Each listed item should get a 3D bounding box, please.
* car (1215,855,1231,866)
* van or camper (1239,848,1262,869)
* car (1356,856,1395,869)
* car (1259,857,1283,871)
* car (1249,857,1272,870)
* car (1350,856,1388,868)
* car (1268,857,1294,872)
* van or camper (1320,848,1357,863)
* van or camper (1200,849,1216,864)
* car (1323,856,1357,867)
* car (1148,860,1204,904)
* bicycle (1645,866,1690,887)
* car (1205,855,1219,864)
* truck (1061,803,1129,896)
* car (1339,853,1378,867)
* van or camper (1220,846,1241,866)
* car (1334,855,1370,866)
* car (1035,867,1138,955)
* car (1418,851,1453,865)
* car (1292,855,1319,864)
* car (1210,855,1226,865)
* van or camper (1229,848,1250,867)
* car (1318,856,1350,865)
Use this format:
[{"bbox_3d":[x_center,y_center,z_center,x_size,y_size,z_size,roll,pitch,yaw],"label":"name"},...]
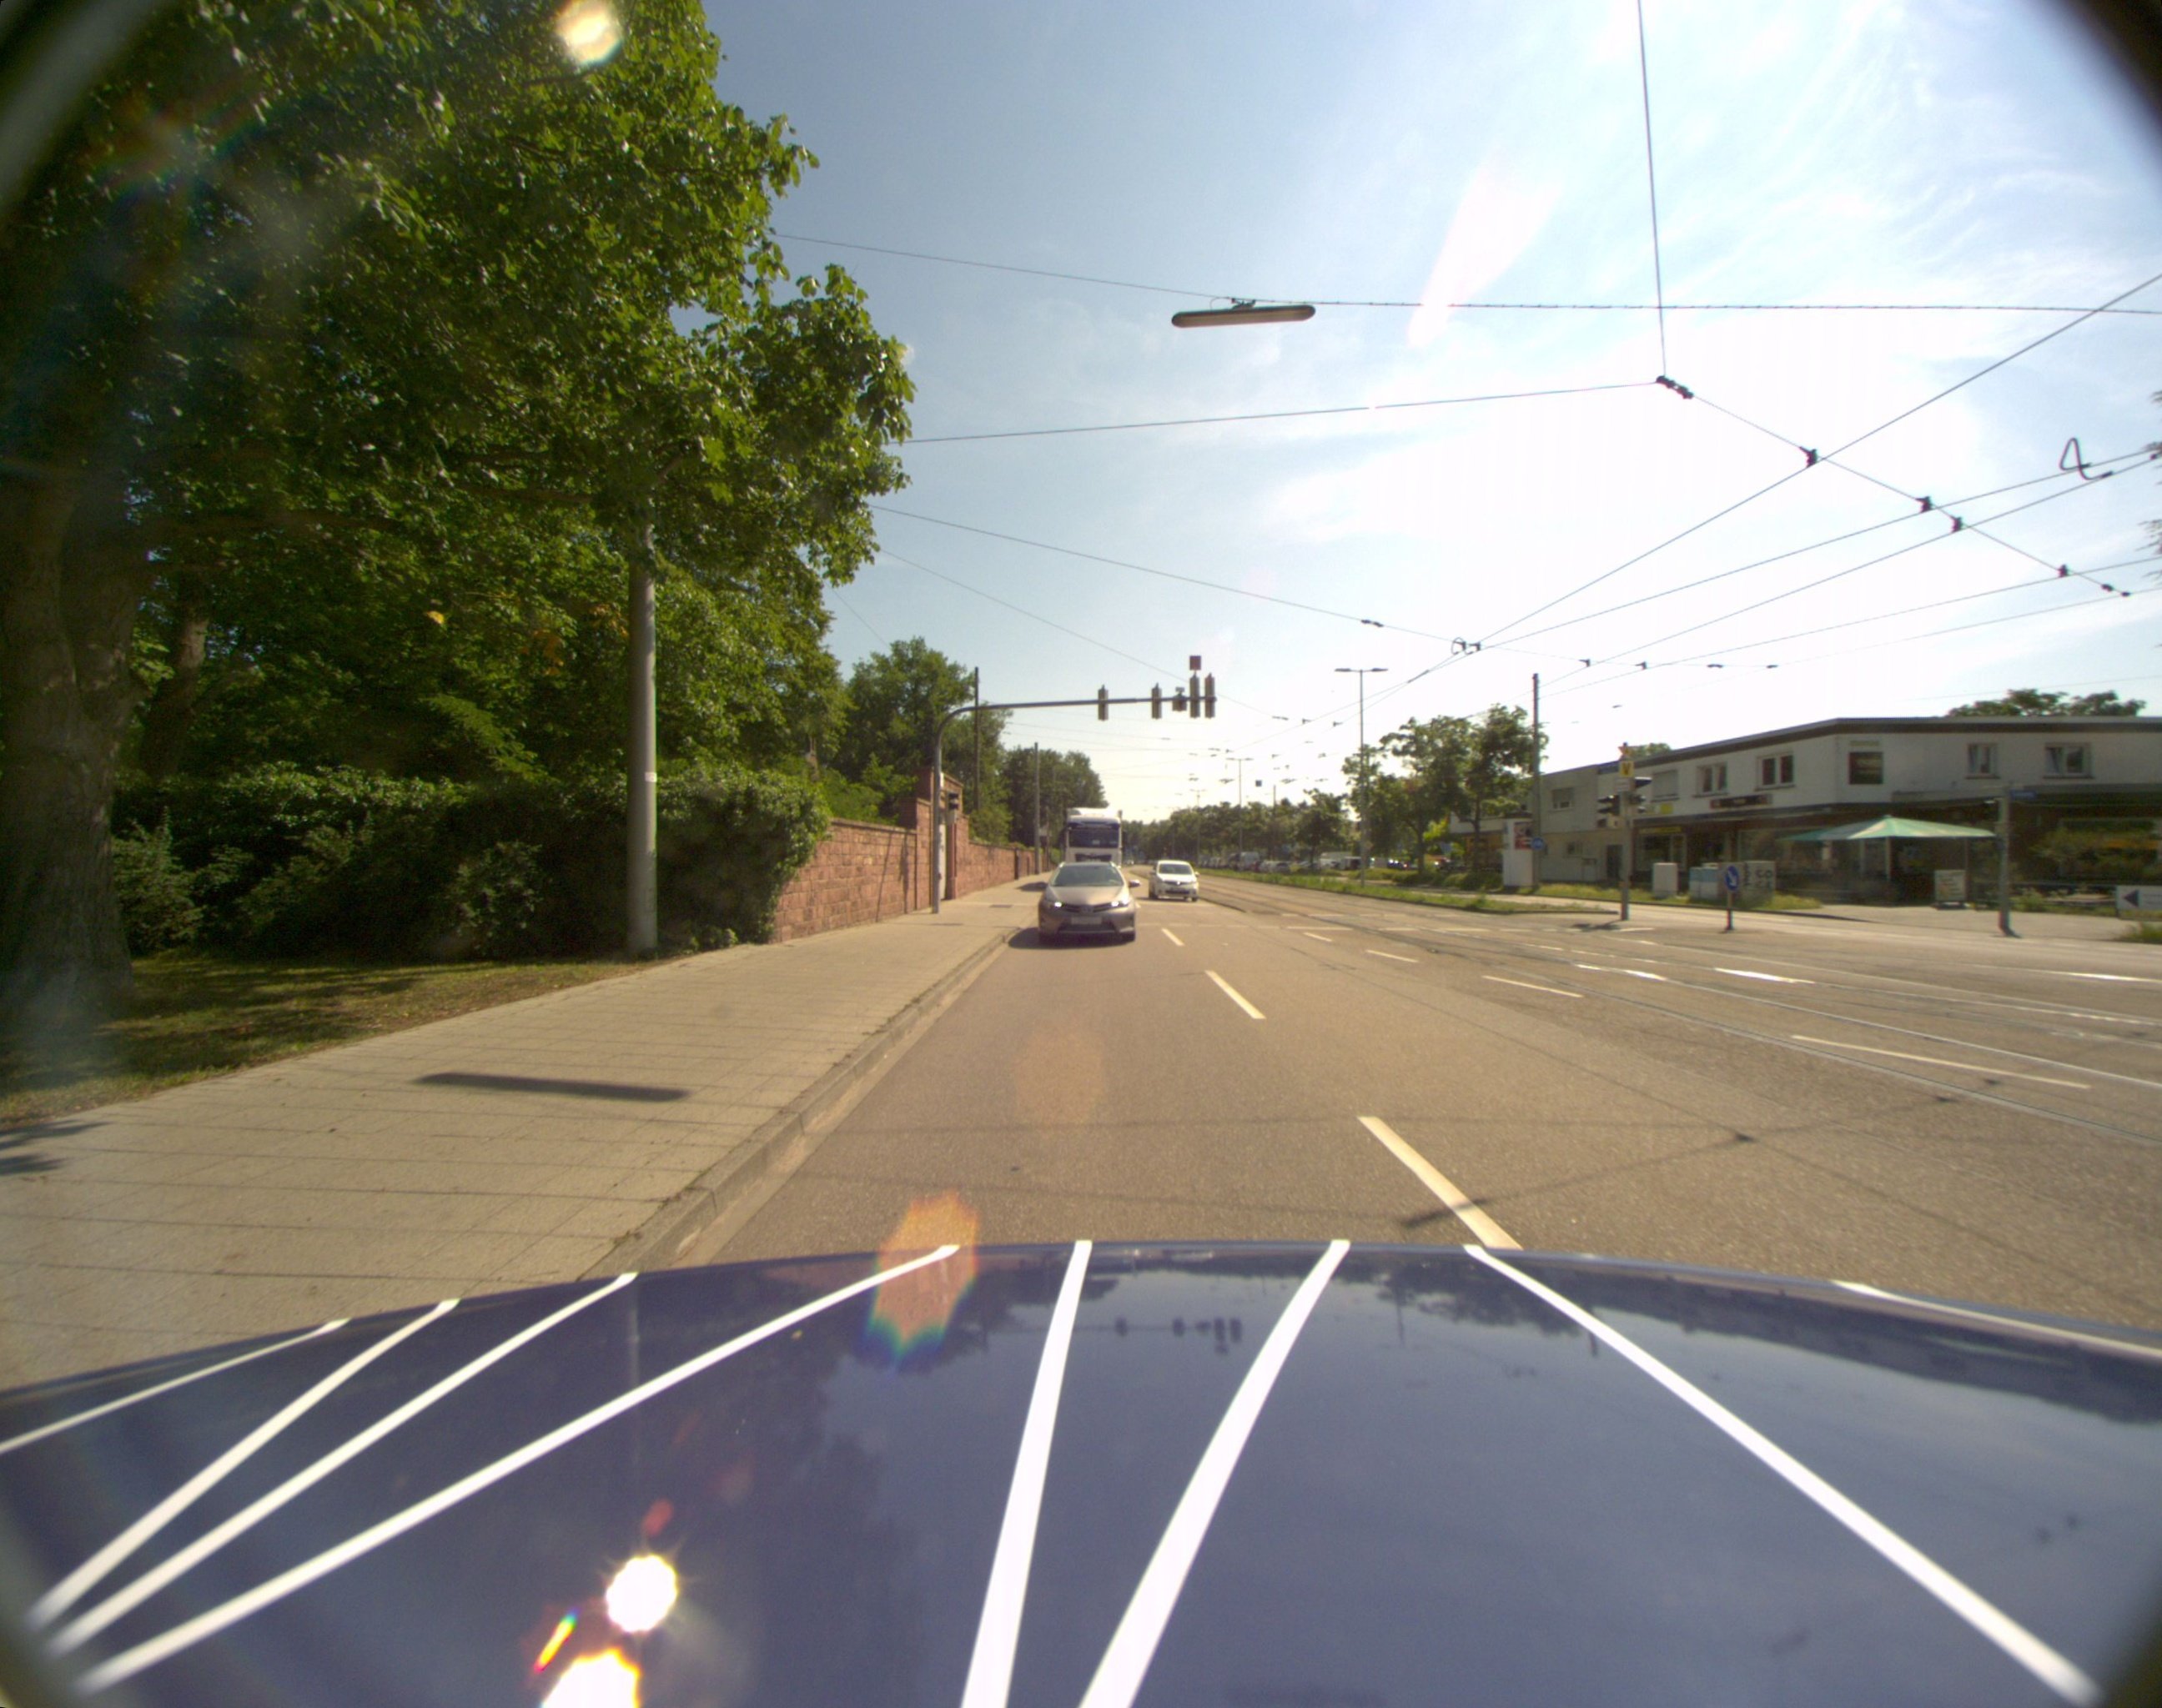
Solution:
[{"bbox_3d":[22.967,0.983,122.711,1.892,1.724,4.232,0,0,1],"label":"car"},{"bbox_3d":[22.099,0.547,99.161,2.039,2.616,4.840,0,0,1],"label":"van or camper"},{"bbox_3d":[32.017,0.930,82.660,3.624,1.353,1.712,0,0,0],"label":"car"},{"bbox_3d":[22.074,1.122,88.399,1.892,1.551,4.285,0,0,1],"label":"car"},{"bbox_3d":[22.174,1.168,94.174,1.892,1.486,4.232,0,0,1],"label":"car"},{"bbox_3d":[32.301,0.923,85.400,3.624,1.353,1.712,0,0,0],"label":"car"},{"bbox_3d":[21.827,1.134,83.167,1.892,1.486,4.286,-3,0,3],"label":"car"},{"bbox_3d":[47.413,0.259,140.121,6.081,2.714,2.300,0,0,4],"label":"van or camper"},{"bbox_3d":[23.698,0.420,142.062,2.114,2.604,5.452,1,0,2],"label":"van or camper"},{"bbox_3d":[32.676,0.924,95.856,3.624,1.274,1.813,0,0,0],"label":"car"},{"bbox_3d":[3.624,1.022,29.711,1.770,1.552,4.067,1,0,2],"label":"car"},{"bbox_3d":[28.692,1.084,37.193,0.760,0.977,1.911,0,0,2],"label":"bicycle"},{"bbox_3d":[23.299,1.041,135.500,1.892,1.551,4.232,0,0,1],"label":"car"},{"bbox_3d":[0.736,-0.171,36.774,2.746,3.852,9.111,2,0,2],"label":"truck"},{"bbox_3d":[32.102,0.728,87.871,3.749,1.560,1.951,0,0,0],"label":"car"},{"bbox_3d":[22.379,0.311,114.108,2.128,2.967,5.282,0,0,1],"label":"van or camper"},{"bbox_3d":[32.063,0.800,90.002,3.624,1.277,1.712,0,0,0],"label":"car"},{"bbox_3d":[0.158,0.995,15.054,1.742,1.424,4.463,0,0,2],"label":"car"},{"bbox_3d":[45.378,0.536,97.322,3.624,1.767,1.712,0,0,0],"label":"car"},{"bbox_3d":[34.104,0.867,115.487,3.624,1.274,1.712,0,0,0],"label":"car"},{"bbox_3d":[23.354,0.990,129.643,1.892,1.757,4.232,0,0,1],"label":"car"},{"bbox_3d":[22.163,0.517,106.218,2.039,2.616,4.840,0,0,1],"label":"van or camper"},{"bbox_3d":[33.553,0.842,100.884,3.624,1.274,1.712,0,0,0],"label":"car"}]
